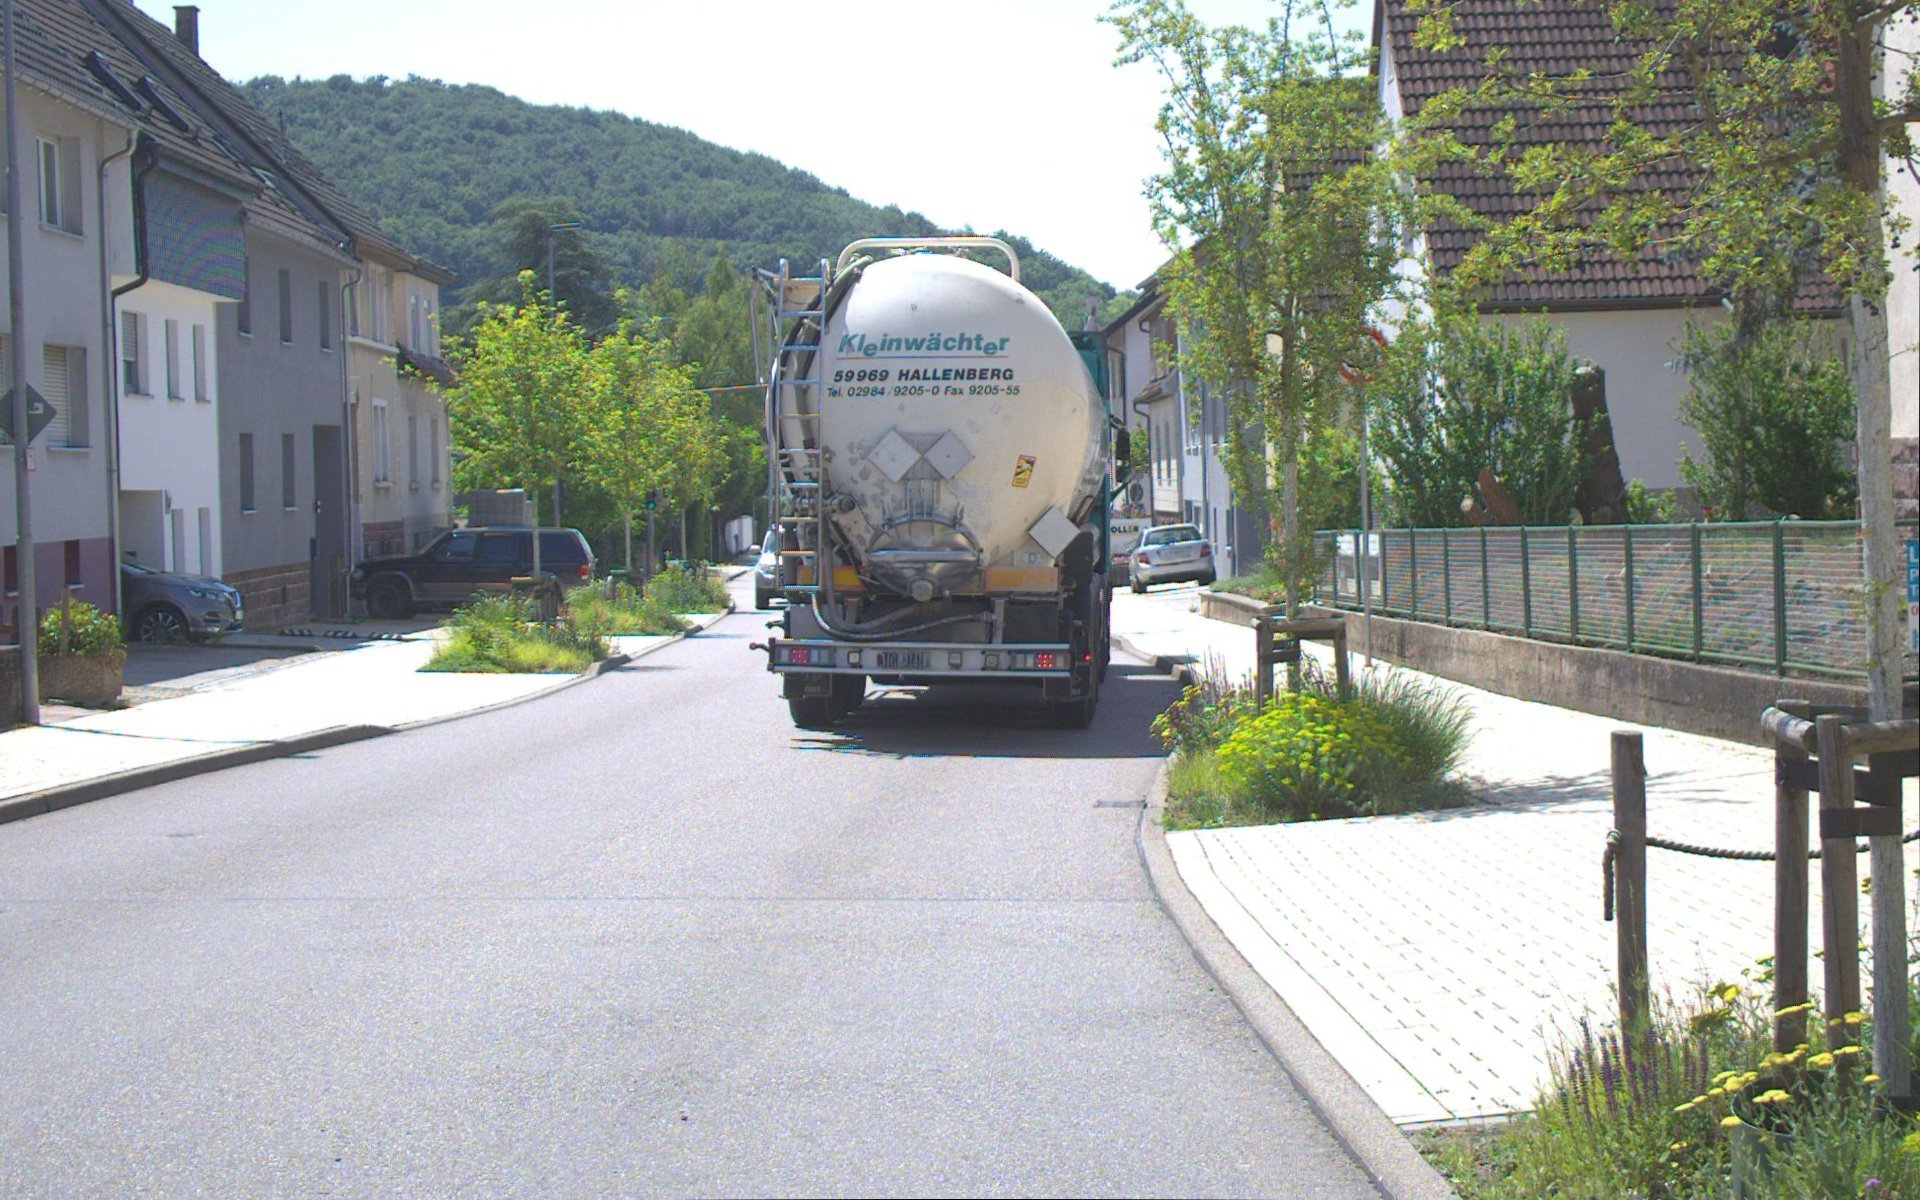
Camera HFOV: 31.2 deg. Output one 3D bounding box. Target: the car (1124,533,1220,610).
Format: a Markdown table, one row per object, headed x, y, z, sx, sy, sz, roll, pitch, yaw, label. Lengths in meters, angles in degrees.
| x | y | z | sx | sy | sz | roll | pitch | yaw | label |
| --- | --- | --- | --- | --- | --- | --- | --- | --- | --- |
| 4.689 | -0.653 | 76.599 | 1.791 | 1.536 | 4.519 | -4 | 1 | 1 | car |

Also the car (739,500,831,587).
| x | y | z | sx | sy | sz | roll | pitch | yaw | label |
| --- | --- | --- | --- | --- | --- | --- | --- | --- | --- |
| -3.864 | -1.259 | 76.573 | 1.889 | 1.854 | 4.578 | 1 | 1 | -1 | car |

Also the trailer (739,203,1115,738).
| x | y | z | sx | sy | sz | roll | pitch | yaw | label |
| --- | --- | --- | --- | --- | --- | --- | --- | --- | --- |
| -0.051 | -1.060 | 30.925 | 2.796 | 3.987 | 10.323 | 0 | 1 | 2 | trailer |

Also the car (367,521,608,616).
| x | y | z | sx | sy | sz | roll | pitch | yaw | label |
| --- | --- | --- | --- | --- | --- | --- | --- | --- | --- |
| -9.045 | -0.624 | 66.047 | 4.394 | 1.744 | 1.878 | -1 | 1 | -1 | car |

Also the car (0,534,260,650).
| x | y | z | sx | sy | sz | roll | pitch | yaw | label |
| --- | --- | --- | --- | --- | --- | --- | --- | --- | --- |
| -11.806 | -0.124 | 47.287 | 3.987 | 1.540 | 1.832 | 0 | 1 | 0 | car |

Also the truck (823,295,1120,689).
| x | y | z | sx | sy | sz | roll | pitch | yaw | label |
| --- | --- | --- | --- | --- | --- | --- | --- | --- | --- |
| 0.254 | -1.135 | 37.410 | 2.809 | 3.923 | 6.098 | 0 | 1 | 4 | truck |

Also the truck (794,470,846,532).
| x | y | z | sx | sy | sz | roll | pitch | yaw | label |
| --- | --- | --- | --- | --- | --- | --- | --- | --- | --- |
| -7.826 | -5.511 | 192.627 | 2.728 | 3.360 | 8.635 | 0 | 1 | -1 | truck |

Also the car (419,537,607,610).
| x | y | z | sx | sy | sz | roll | pitch | yaw | label |
| --- | --- | --- | --- | --- | --- | --- | --- | --- | --- |
| -9.134 | -0.540 | 70.207 | 3.547 | 1.434 | 1.695 | 0 | 1 | 34 | car |
